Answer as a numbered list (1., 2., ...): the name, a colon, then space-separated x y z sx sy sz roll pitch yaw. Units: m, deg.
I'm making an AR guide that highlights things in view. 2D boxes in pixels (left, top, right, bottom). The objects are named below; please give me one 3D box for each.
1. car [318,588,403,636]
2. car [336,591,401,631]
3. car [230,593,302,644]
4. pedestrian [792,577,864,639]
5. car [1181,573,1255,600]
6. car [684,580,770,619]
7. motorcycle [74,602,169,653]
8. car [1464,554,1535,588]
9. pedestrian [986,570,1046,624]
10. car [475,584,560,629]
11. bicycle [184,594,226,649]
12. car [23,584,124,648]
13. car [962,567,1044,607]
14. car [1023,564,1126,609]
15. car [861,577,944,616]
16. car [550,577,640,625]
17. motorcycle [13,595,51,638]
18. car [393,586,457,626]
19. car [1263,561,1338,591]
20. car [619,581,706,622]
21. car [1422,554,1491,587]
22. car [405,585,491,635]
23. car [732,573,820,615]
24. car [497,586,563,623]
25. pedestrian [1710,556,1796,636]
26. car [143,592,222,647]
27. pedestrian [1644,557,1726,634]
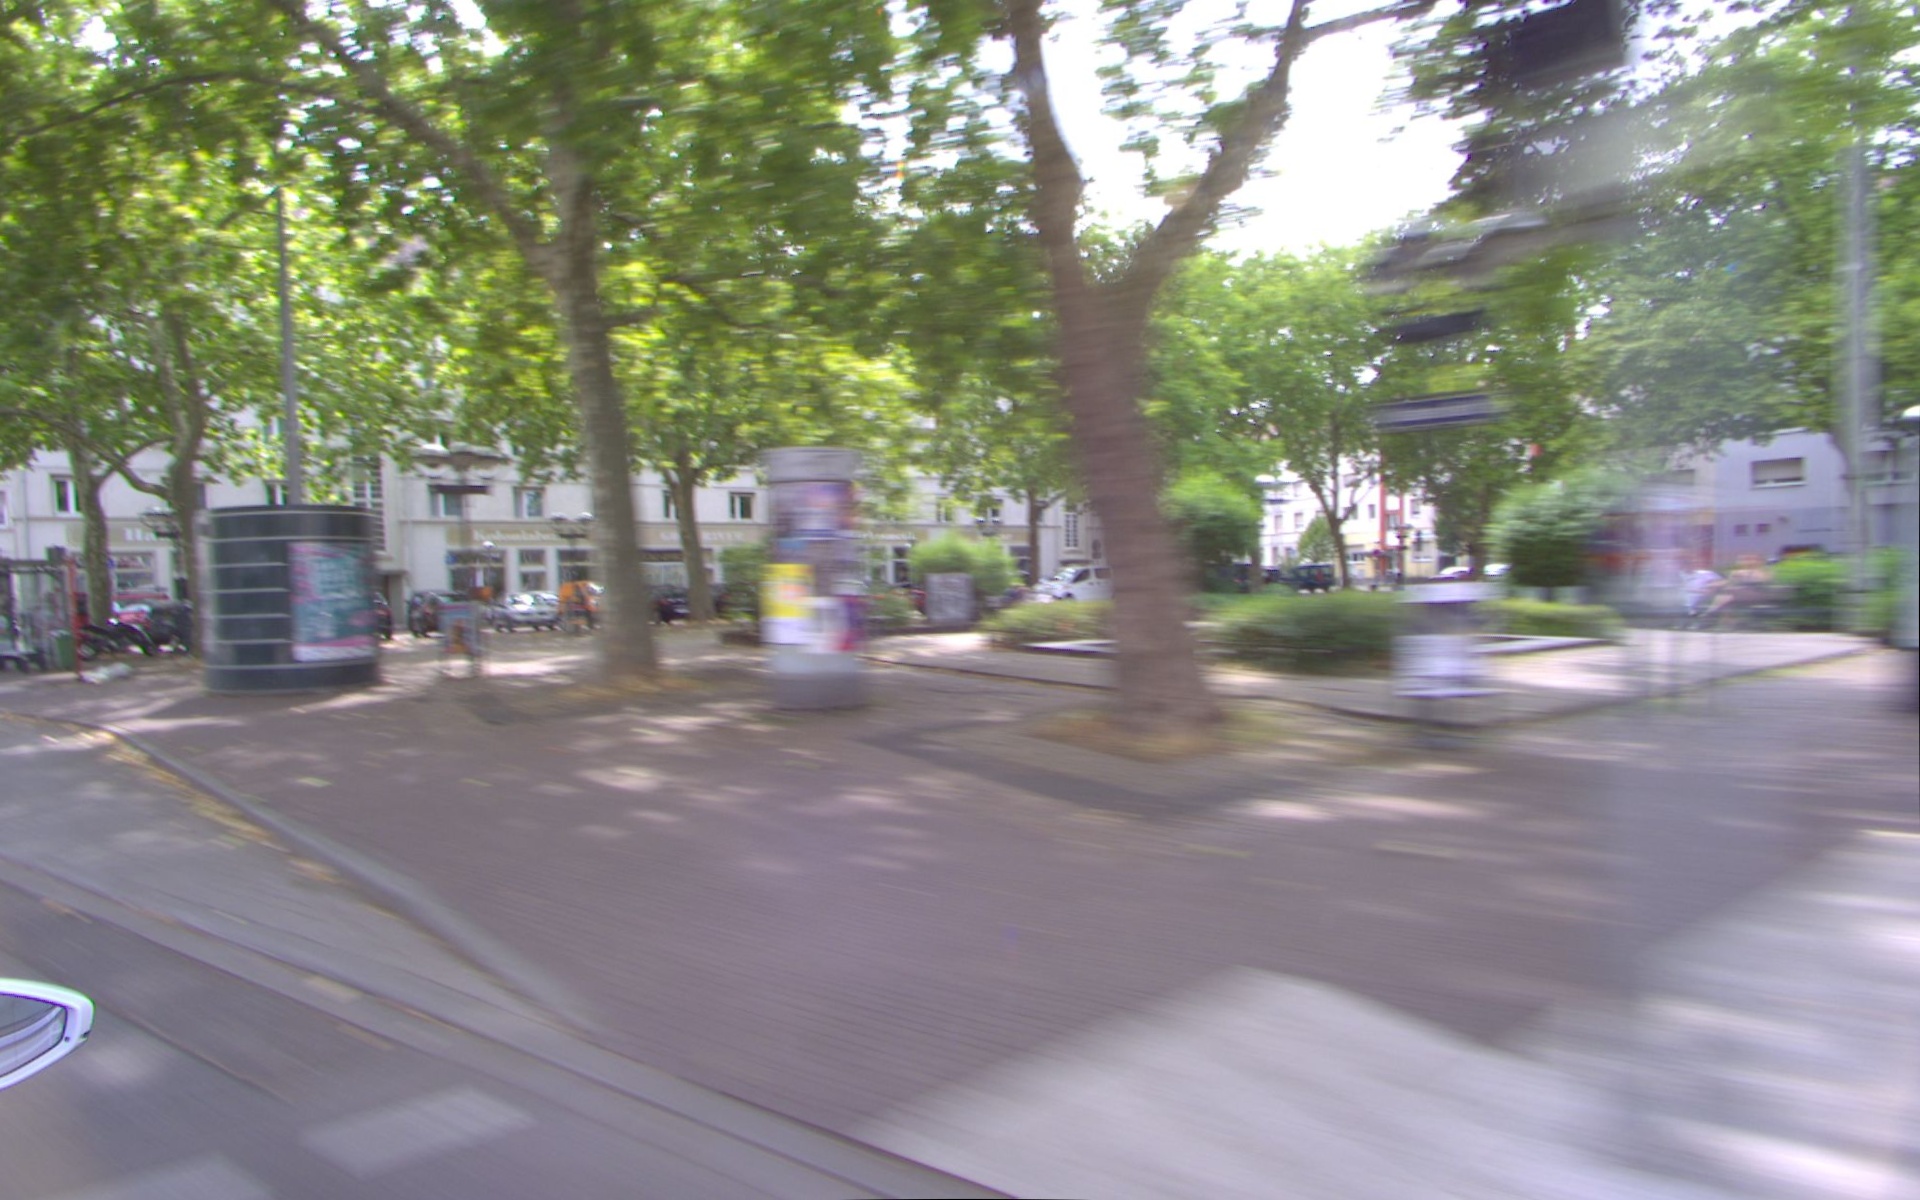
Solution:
1. car: -20.285 0.362 33.796 1.975 1.484 3.969 -3 2 -37
2. car: -24.689 0.422 41.762 1.974 1.508 4.165 -2 2 -35
3. car: -22.327 0.538 32.313 1.728 1.484 4.156 -3 2 -34
4. pedestrian: -2.745 0.152 20.811 1.084 1.229 1.133 -3 2 -33
5. car: 14.749 -0.795 57.443 1.968 1.504 4.084 -2 2 -24
6. car: -9.663 -0.047 41.338 1.975 1.484 3.969 -3 2 -37
7. motorcycle: -22.261 0.711 26.622 0.523 1.239 1.851 1 2 29
8. car: 30.092 -1.636 55.802 3.949 1.841 1.985 -2 2 -36
9. pedestrian: 1.302 -0.085 23.361 0.877 1.217 1.115 -2 3 -36
10. car: -16.413 0.211 37.057 1.975 1.484 3.969 -3 2 -37
11. bicycle: -20.807 0.558 27.622 0.414 1.397 2.301 -2 2 -26
12. car: -26.379 0.417 29.934 1.915 1.729 4.296 -3 2 -38
13. car: 2.059 -0.648 49.190 1.894 1.840 3.968 -3 2 -38
14. car: 5.068 -0.637 44.124 4.275 1.841 1.986 -2 2 -34
15. car: -2.697 -0.191 46.456 1.975 1.662 3.970 -3 2 -36
16. car: -14.197 0.011 38.763 1.975 1.718 4.524 -3 2 -37
17. motorcycle: -34.436 0.588 37.140 2.280 1.482 0.827 2 4 44
18. car: -23.518 0.238 43.945 1.974 1.612 4.165 -2 2 -35
19. car: 21.161 -1.469 62.271 1.979 1.818 3.962 -3 2 -42
20. car: -11.861 0.038 39.780 1.975 1.484 3.969 -3 2 -37
21. car: 28.759 -1.734 58.000 3.949 1.841 1.985 -2 2 -36
22. car: -18.211 0.311 35.541 1.975 1.621 3.969 -3 2 -37
23. car: -7.871 -0.267 42.551 1.975 1.640 4.172 -3 2 -37
24. car: -20.420 0.182 47.454 1.975 1.612 4.163 -2 2 -36
25. pedestrian: 13.778 -0.093 17.399 1.164 1.336 0.861 -2 3 -36
26. car: -24.621 0.558 31.786 1.810 1.573 3.969 -3 2 -37
27. pedestrian: 13.077 -0.100 18.061 1.164 1.336 0.861 -2 3 -36
